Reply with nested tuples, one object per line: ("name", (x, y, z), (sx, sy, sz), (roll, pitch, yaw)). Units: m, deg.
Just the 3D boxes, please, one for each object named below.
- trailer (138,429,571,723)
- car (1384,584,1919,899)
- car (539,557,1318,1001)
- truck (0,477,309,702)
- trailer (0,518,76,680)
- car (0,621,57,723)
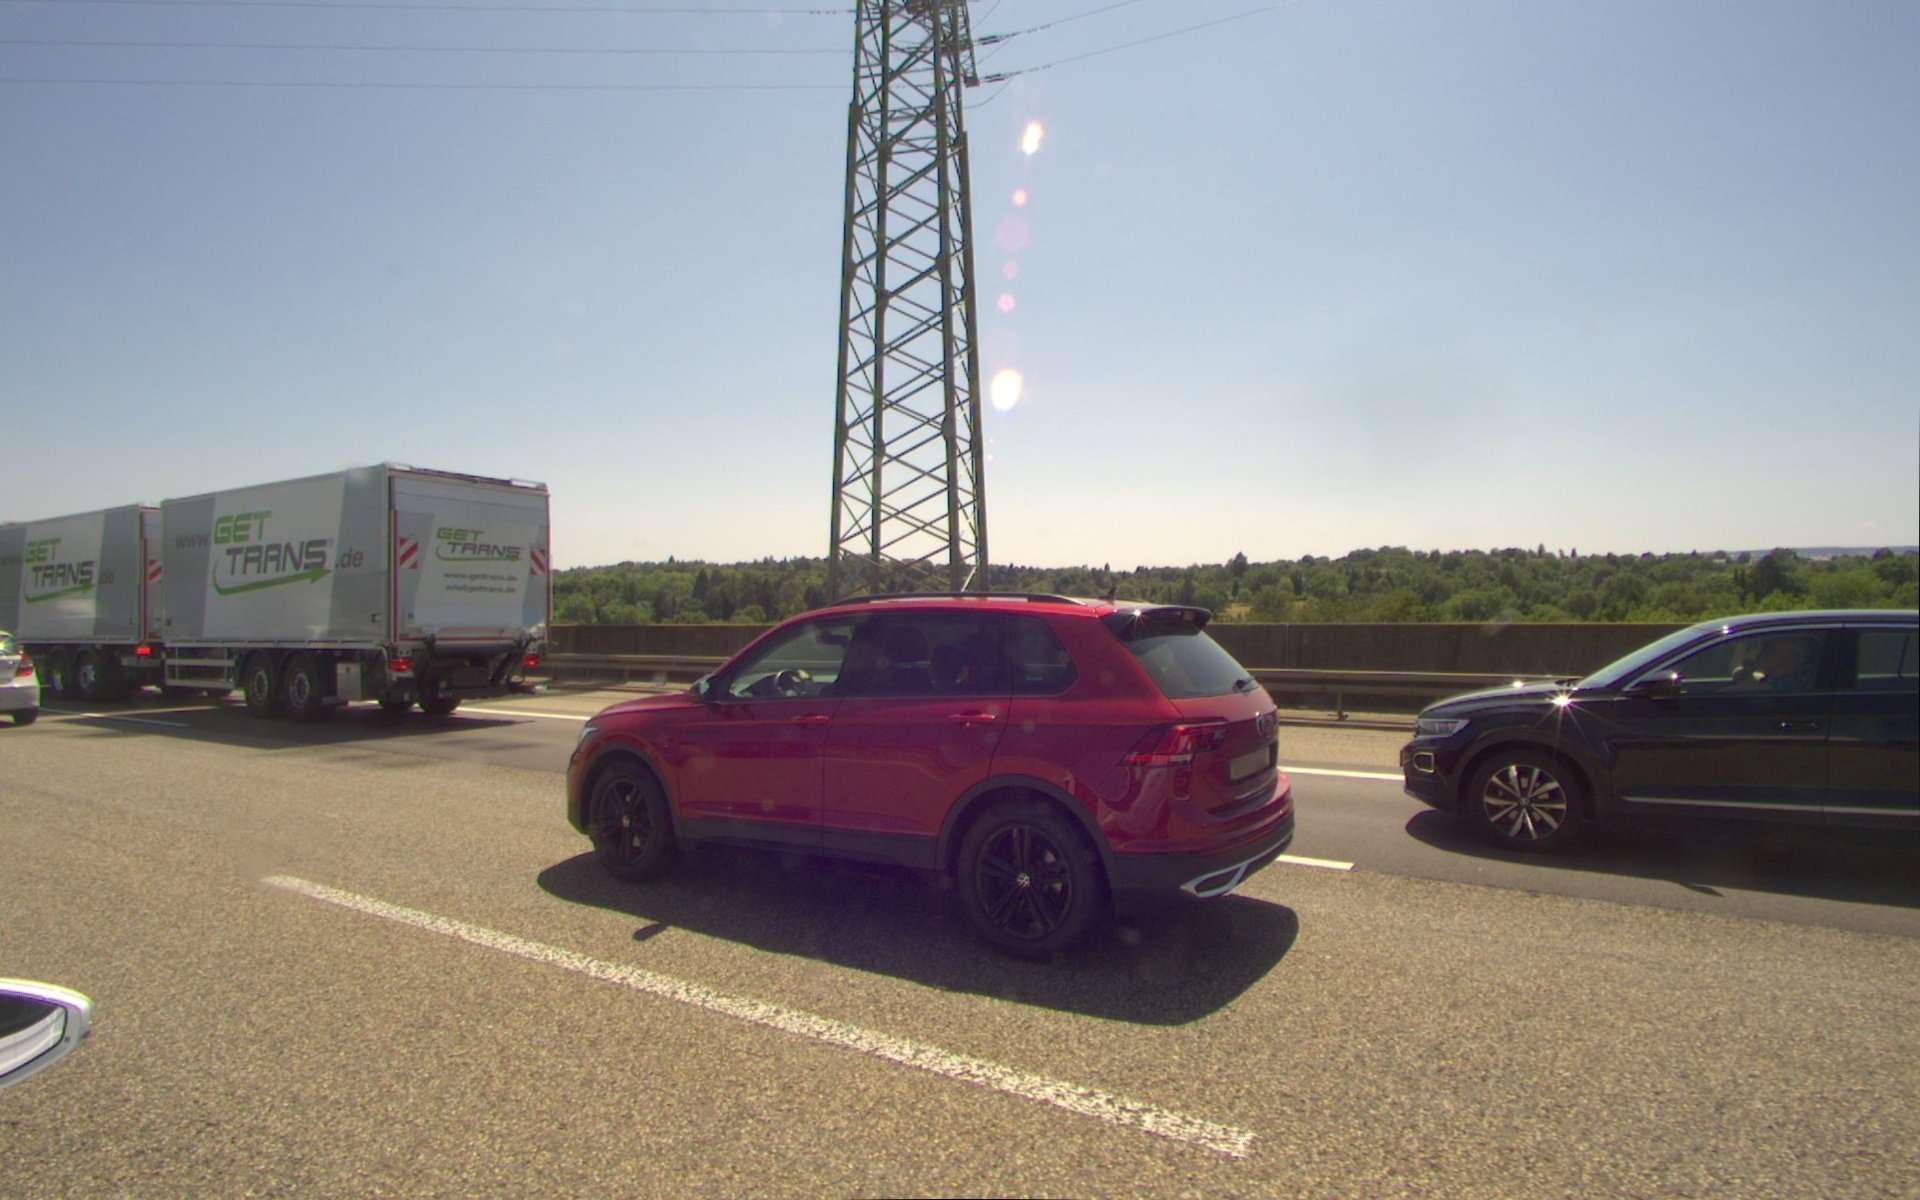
("trailer", (-10.349, -0.194, 16.794), (8.097, 3.941, 2.894), (-1, -2, 32))
("car", (5.022, 0.790, 6.394), (4.059, 1.676, 1.706), (-1, -2, 32))
("car", (-0.341, 0.762, 5.709), (4.224, 1.700, 1.706), (-1, -2, 32))
("truck", (-18.288, -0.026, 21.748), (10.458, 3.984, 2.847), (-1, -2, 32))
("trailer", (-28.192, 0.084, 27.995), (8.850, 4.140, 2.679), (-1, -2, 31))
("car", (-15.757, 1.089, 15.384), (3.876, 1.489, 1.812), (-1, -2, 32))
